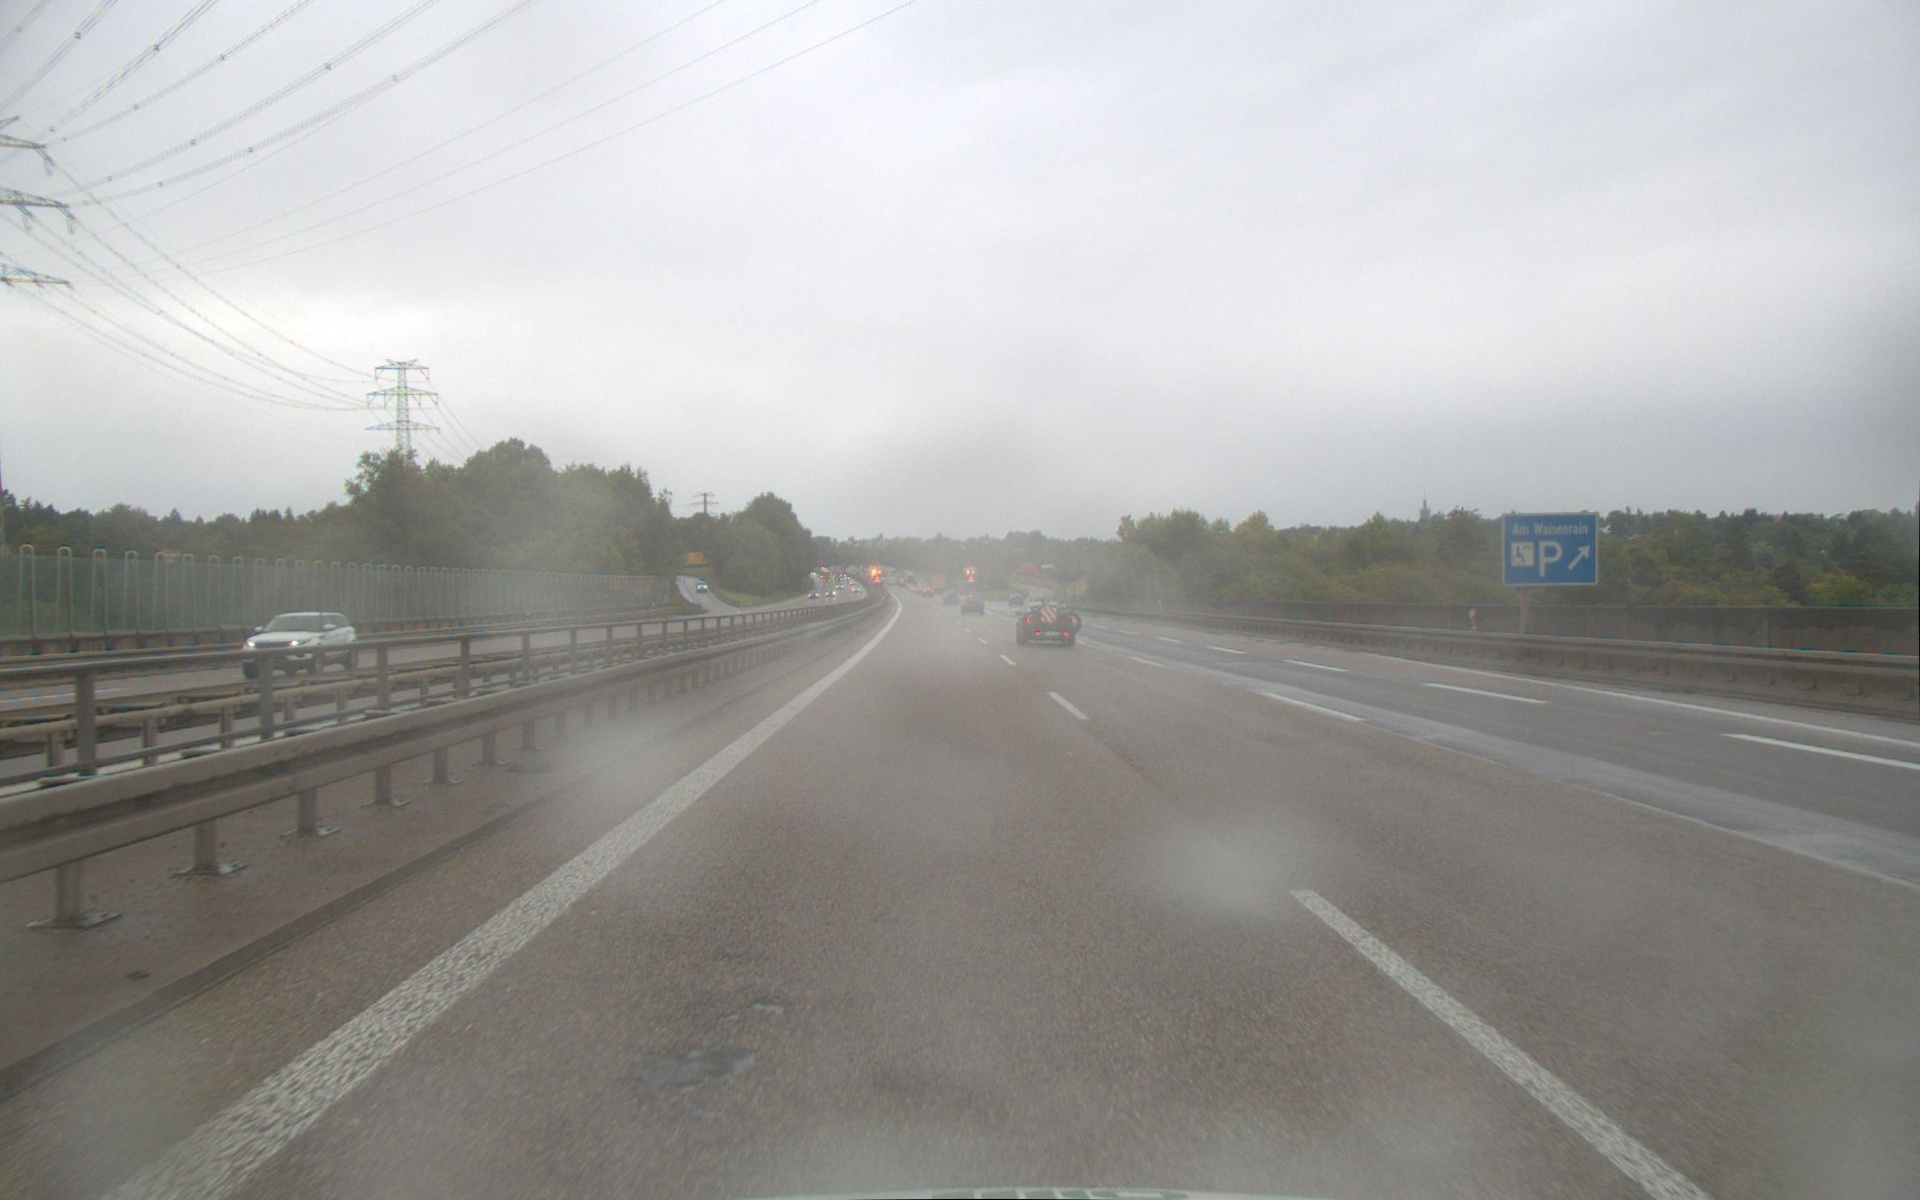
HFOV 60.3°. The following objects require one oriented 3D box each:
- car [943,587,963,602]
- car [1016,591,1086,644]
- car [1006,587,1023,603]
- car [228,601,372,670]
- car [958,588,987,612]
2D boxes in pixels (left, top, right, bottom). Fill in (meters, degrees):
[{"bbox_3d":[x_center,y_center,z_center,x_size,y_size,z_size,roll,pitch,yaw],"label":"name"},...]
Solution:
[{"bbox_3d":[-0.823,-0.637,190.055,1.954,1.657,3.997,-1,1,-4],"label":"car"},{"bbox_3d":[3.017,0.550,55.905,2.015,1.700,5.521,0,0,0],"label":"car"},{"bbox_3d":[6.361,-0.556,191.934,1.882,1.739,4.002,-1,1,3],"label":"car"},{"bbox_3d":[-17.294,0.878,43.592,1.953,1.658,4.712,-1,0,-1],"label":"car"},{"bbox_3d":[0.956,-0.033,130.213,1.954,1.791,3.997,-1,1,-4],"label":"car"}]
